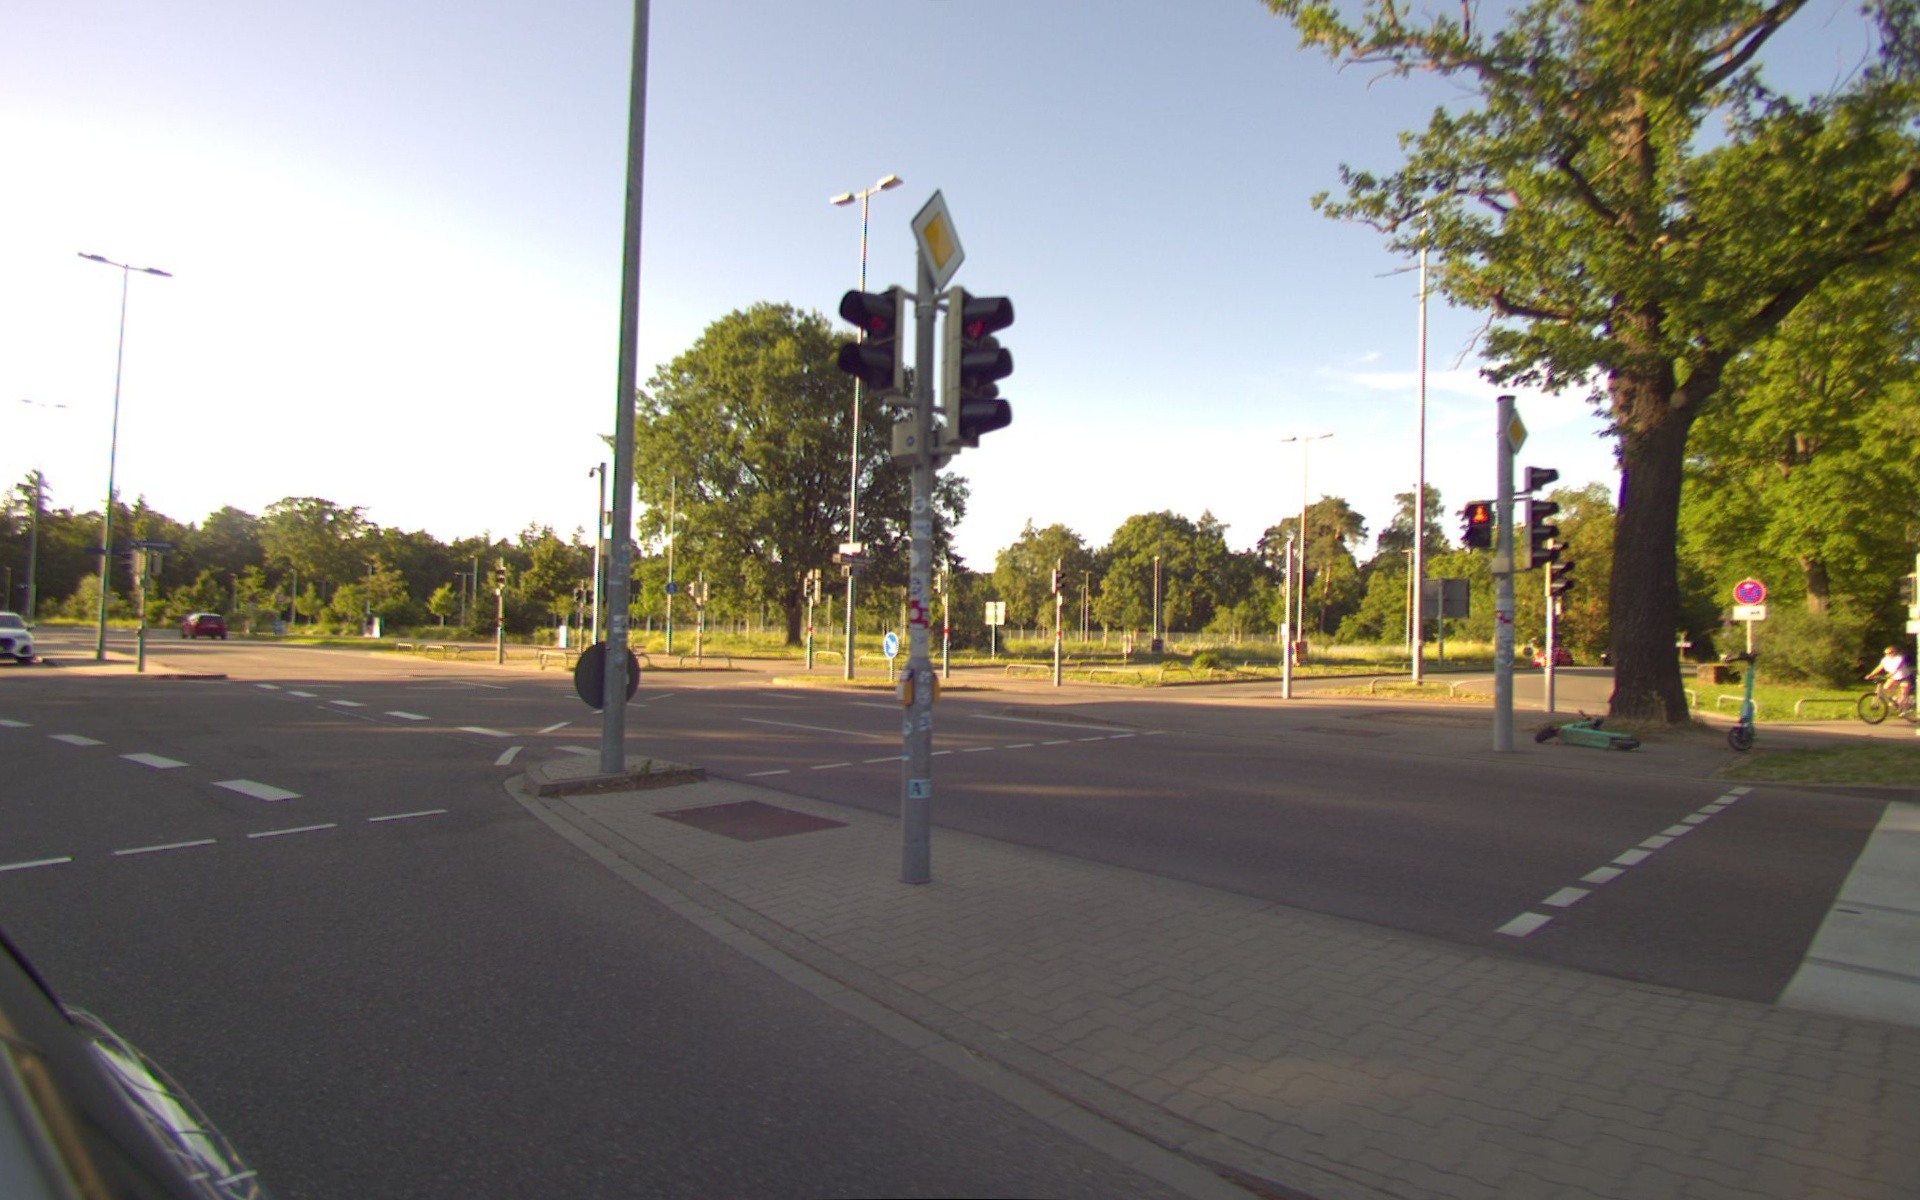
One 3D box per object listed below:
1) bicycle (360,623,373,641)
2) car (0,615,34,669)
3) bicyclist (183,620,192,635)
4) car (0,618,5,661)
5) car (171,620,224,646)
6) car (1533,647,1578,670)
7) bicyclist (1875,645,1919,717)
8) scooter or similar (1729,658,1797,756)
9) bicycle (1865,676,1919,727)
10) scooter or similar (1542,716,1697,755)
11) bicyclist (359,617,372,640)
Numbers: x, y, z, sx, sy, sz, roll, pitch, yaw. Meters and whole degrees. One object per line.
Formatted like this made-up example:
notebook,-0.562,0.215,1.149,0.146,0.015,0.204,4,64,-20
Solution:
bicycle,-42.159,2.263,71.884,0.487,1.247,1.798,1,-1,-40
car,-28.930,1.209,30.041,4.301,1.524,1.813,-1,-2,44
bicyclist,-73.472,2.603,96.259,0.584,1.424,0.801,1,-2,-45
car,-34.019,1.341,34.680,4.319,1.438,1.638,-1,-2,44
car,-49.663,2.121,65.894,4.571,1.565,1.866,-1,-1,42
car,43.754,4.283,74.336,3.937,1.521,1.659,1,-1,-41
bicyclist,20.507,1.733,21.934,0.786,1.494,0.732,1,-1,-24
scooter or similar,9.914,1.297,12.484,1.053,1.155,0.395,3,-4,-38
bicycle,20.527,2.188,21.939,1.563,0.984,0.787,1,-1,-24
scooter or similar,8.371,1.701,12.855,1.389,0.342,1.262,3,-4,-38
bicyclist,-42.196,1.994,71.812,0.672,1.623,0.801,1,-1,-39
